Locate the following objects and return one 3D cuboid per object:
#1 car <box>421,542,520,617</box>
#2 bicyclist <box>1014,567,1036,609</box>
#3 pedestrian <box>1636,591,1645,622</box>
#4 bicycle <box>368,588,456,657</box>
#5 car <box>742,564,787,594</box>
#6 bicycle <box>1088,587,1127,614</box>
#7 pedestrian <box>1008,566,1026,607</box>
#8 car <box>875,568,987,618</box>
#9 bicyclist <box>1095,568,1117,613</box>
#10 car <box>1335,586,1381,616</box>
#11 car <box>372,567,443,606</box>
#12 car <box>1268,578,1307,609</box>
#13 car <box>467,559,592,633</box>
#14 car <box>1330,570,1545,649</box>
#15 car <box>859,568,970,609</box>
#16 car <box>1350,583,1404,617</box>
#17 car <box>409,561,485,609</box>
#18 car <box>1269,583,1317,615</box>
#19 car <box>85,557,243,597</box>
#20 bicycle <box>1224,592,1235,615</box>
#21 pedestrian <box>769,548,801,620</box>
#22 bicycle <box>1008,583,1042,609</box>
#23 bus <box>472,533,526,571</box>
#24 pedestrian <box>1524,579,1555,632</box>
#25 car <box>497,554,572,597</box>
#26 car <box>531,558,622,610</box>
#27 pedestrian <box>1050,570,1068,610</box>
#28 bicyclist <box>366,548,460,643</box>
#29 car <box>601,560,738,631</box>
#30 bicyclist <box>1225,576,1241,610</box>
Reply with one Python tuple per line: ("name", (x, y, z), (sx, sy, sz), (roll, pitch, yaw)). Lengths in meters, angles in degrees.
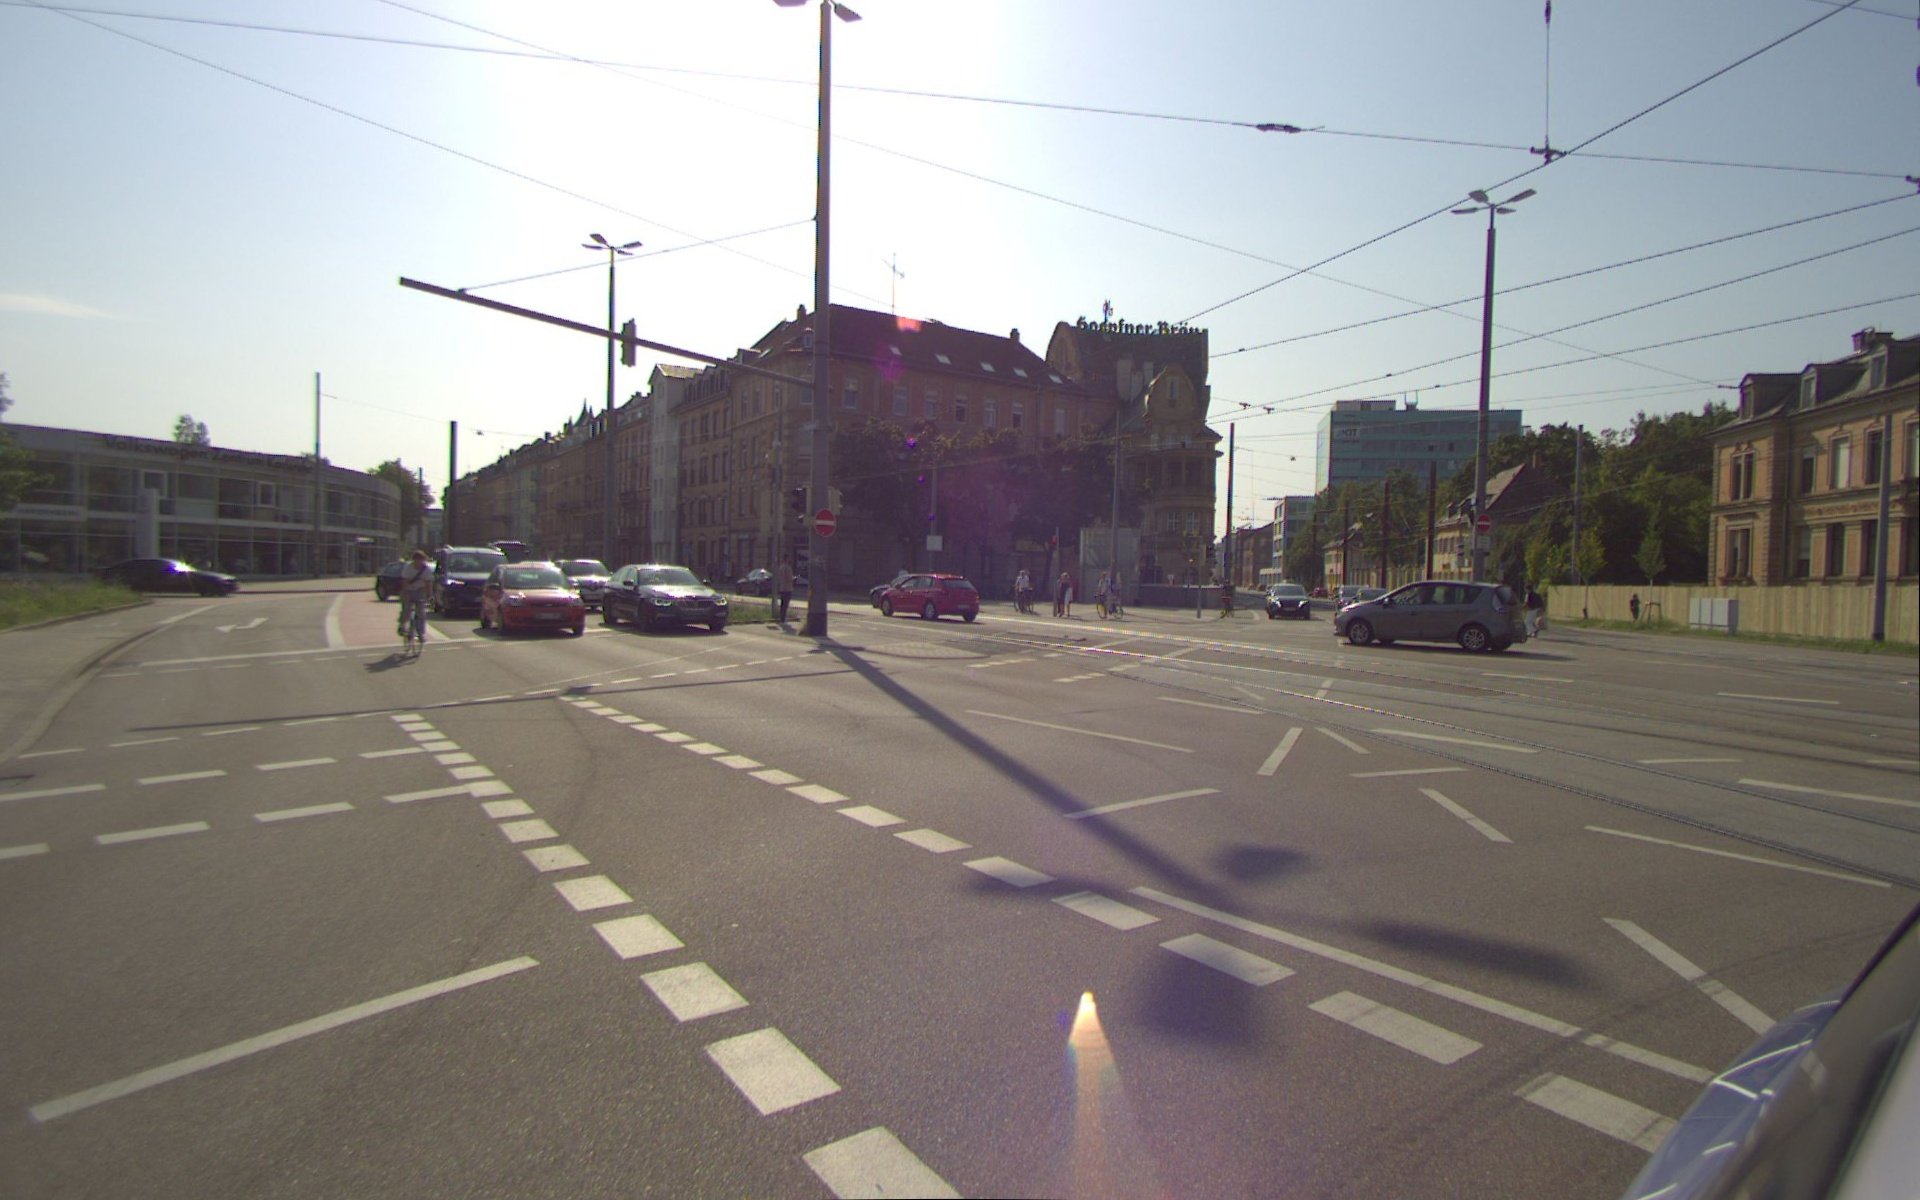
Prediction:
("car", (-13.475, -0.590, 27.714), (1.768, 1.850, 4.775), (1, 2, -34))
("bicyclist", (2.714, -0.508, 42.283), (0.577, 1.738, 0.647), (1, 0, -39))
("pedestrian", (34.376, 0.303, 51.113), (0.233, 1.549, 0.325), (2, 1, 12))
("bicycle", (-9.009, 0.344, 16.604), (2.188, 1.001, 0.521), (3, 2, 40))
("car", (-10.297, -1.122, 53.059), (1.704, 1.478, 3.849), (1, 1, -20))
("bicycle", (5.794, 0.017, 39.734), (1.494, 1.037, 0.435), (0, 1, -22))
("pedestrian", (2.472, -0.593, 43.871), (0.495, 1.748, 0.625), (1, 0, -23))
("car", (-0.988, -0.243, 32.621), (1.646, 1.466, 3.778), (1, 1, -38))
("bicyclist", (5.733, -0.371, 39.725), (0.575, 1.752, 0.596), (1, 0, -22))
("car", (19.404, 0.001, 49.499), (1.670, 1.343, 3.980), (2, 1, 16))
("car", (-20.070, -0.520, 36.698), (1.770, 1.298, 3.630), (0, 2, -37))
("car", (18.453, -0.380, 57.199), (1.901, 1.656, 3.980), (2, 1, 16))
("car", (-9.432, -0.135, 22.011), (1.768, 1.433, 4.002), (1, 2, -34))
("car", (11.339, 0.183, 24.234), (1.785, 1.644, 4.279), (2, 1, -45))
("car", (-1.913, -0.484, 41.001), (1.883, 1.493, 4.731), (1, 1, -43))
("car", (17.966, -0.042, 43.731), (1.670, 1.343, 3.980), (2, 1, 16))
("car", (-16.739, -0.520, 32.935), (1.768, 1.459, 3.633), (1, 2, -34))
("car", (15.542, -0.087, 47.395), (1.901, 1.393, 3.980), (2, 1, 16))
("car", (-29.973, -0.870, 38.265), (4.306, 1.387, 2.004), (1, 1, -23))
("bicycle", (13.241, 0.163, 49.711), (0.396, 1.104, 1.917), (2, 1, 18))
("pedestrian", (-4.319, -0.389, 24.973), (0.516, 1.752, 0.597), (1, 1, -39))
("bicycle", (2.721, -0.168, 42.237), (1.500, 1.037, 0.433), (1, 1, -41))
("bus", (-40.308, -4.125, 88.251), (2.841, 3.021, 11.507), (1, 2, -32))
("pedestrian", (19.141, 0.173, 33.433), (0.788, 1.708, 0.653), (2, 1, 34))
("car", (-15.583, -0.916, 36.959), (1.768, 1.433, 4.002), (1, 2, -34))
("car", (-11.583, -0.497, 30.455), (1.768, 1.453, 3.558), (1, 2, -34))
("pedestrian", (4.116, -0.424, 42.203), (0.496, 1.661, 0.524), (1, 0, -37))
("bicyclist", (-8.996, -0.089, 16.658), (0.967, 1.493, 1.072), (2, 1, 39))
("car", (-6.787, -0.159, 23.349), (1.768, 1.470, 4.352), (1, 2, -34))
("bicyclist", (13.389, -0.347, 49.601), (0.654, 1.657, 0.913), (2, 1, 18))
